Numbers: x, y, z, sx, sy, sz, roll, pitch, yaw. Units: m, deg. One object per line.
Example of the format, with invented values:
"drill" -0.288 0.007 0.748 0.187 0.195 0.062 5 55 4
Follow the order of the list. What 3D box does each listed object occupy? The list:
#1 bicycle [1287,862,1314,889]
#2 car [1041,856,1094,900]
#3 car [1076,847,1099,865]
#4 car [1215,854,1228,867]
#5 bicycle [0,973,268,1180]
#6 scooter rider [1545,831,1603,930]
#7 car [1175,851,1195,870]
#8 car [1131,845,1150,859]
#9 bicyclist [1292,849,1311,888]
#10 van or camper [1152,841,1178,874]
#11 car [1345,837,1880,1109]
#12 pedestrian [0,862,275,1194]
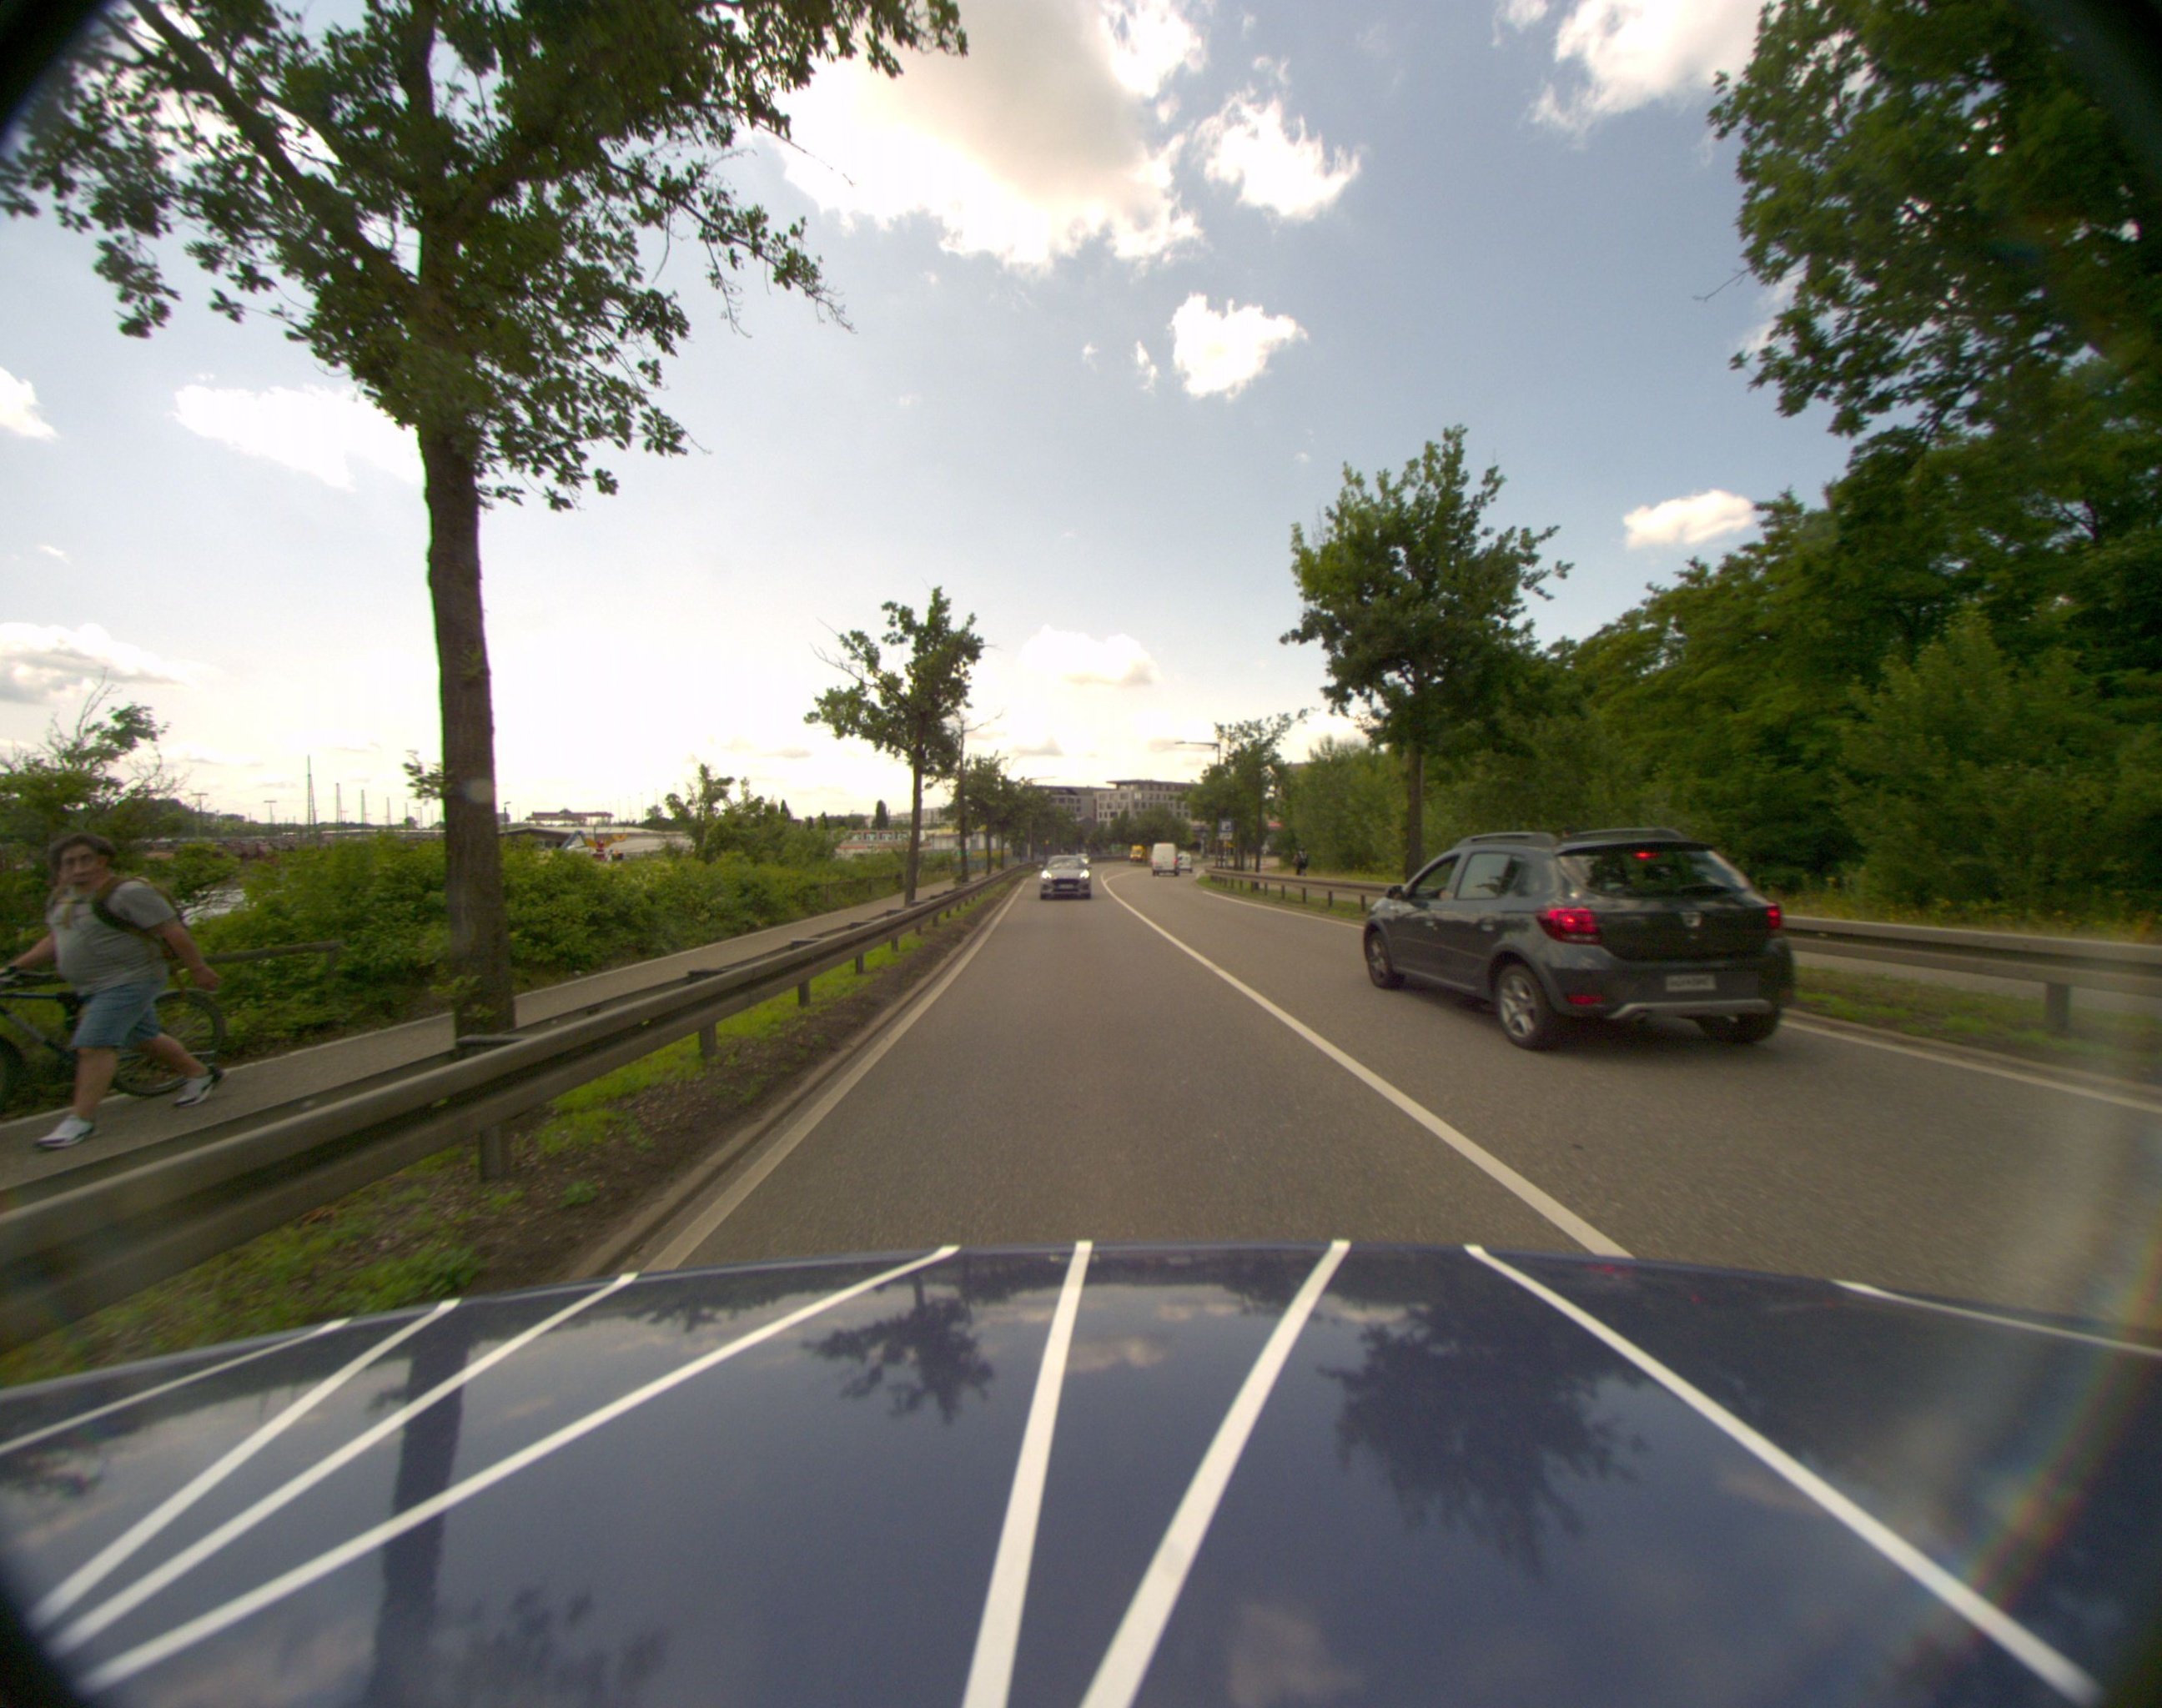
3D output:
"bicycle" 8.882 0.858 30.856 0.558 1.057 1.753 0 0 -1
"car" -0.445 0.824 28.098 1.827 1.516 4.000 0 0 1
"car" 0.813 0.274 91.472 1.996 2.002 4.003 3 1 11
"car" 20.480 0.935 110.362 1.777 1.852 4.129 1 0 11
"bicycle" -5.886 1.257 4.329 0.558 0.864 1.825 1 0 0
"scooter rider" 9.380 0.495 14.470 0.663 1.845 0.619 1 1 -1
"car" 11.059 0.675 80.711 1.778 1.856 5.271 1 0 11
"car" 10.296 -0.424 131.693 1.996 2.306 4.893 -1 1 19
"bicyclist" 8.870 0.573 30.584 0.486 1.544 0.880 1 1 -1
"van or camper" 7.081 0.298 63.354 1.997 2.567 5.985 -1 0 7
"car" 3.951 0.723 6.688 1.785 1.597 4.158 -2 0 0
"pedestrian" -5.442 0.871 4.291 0.659 1.632 1.054 1 1 -1
